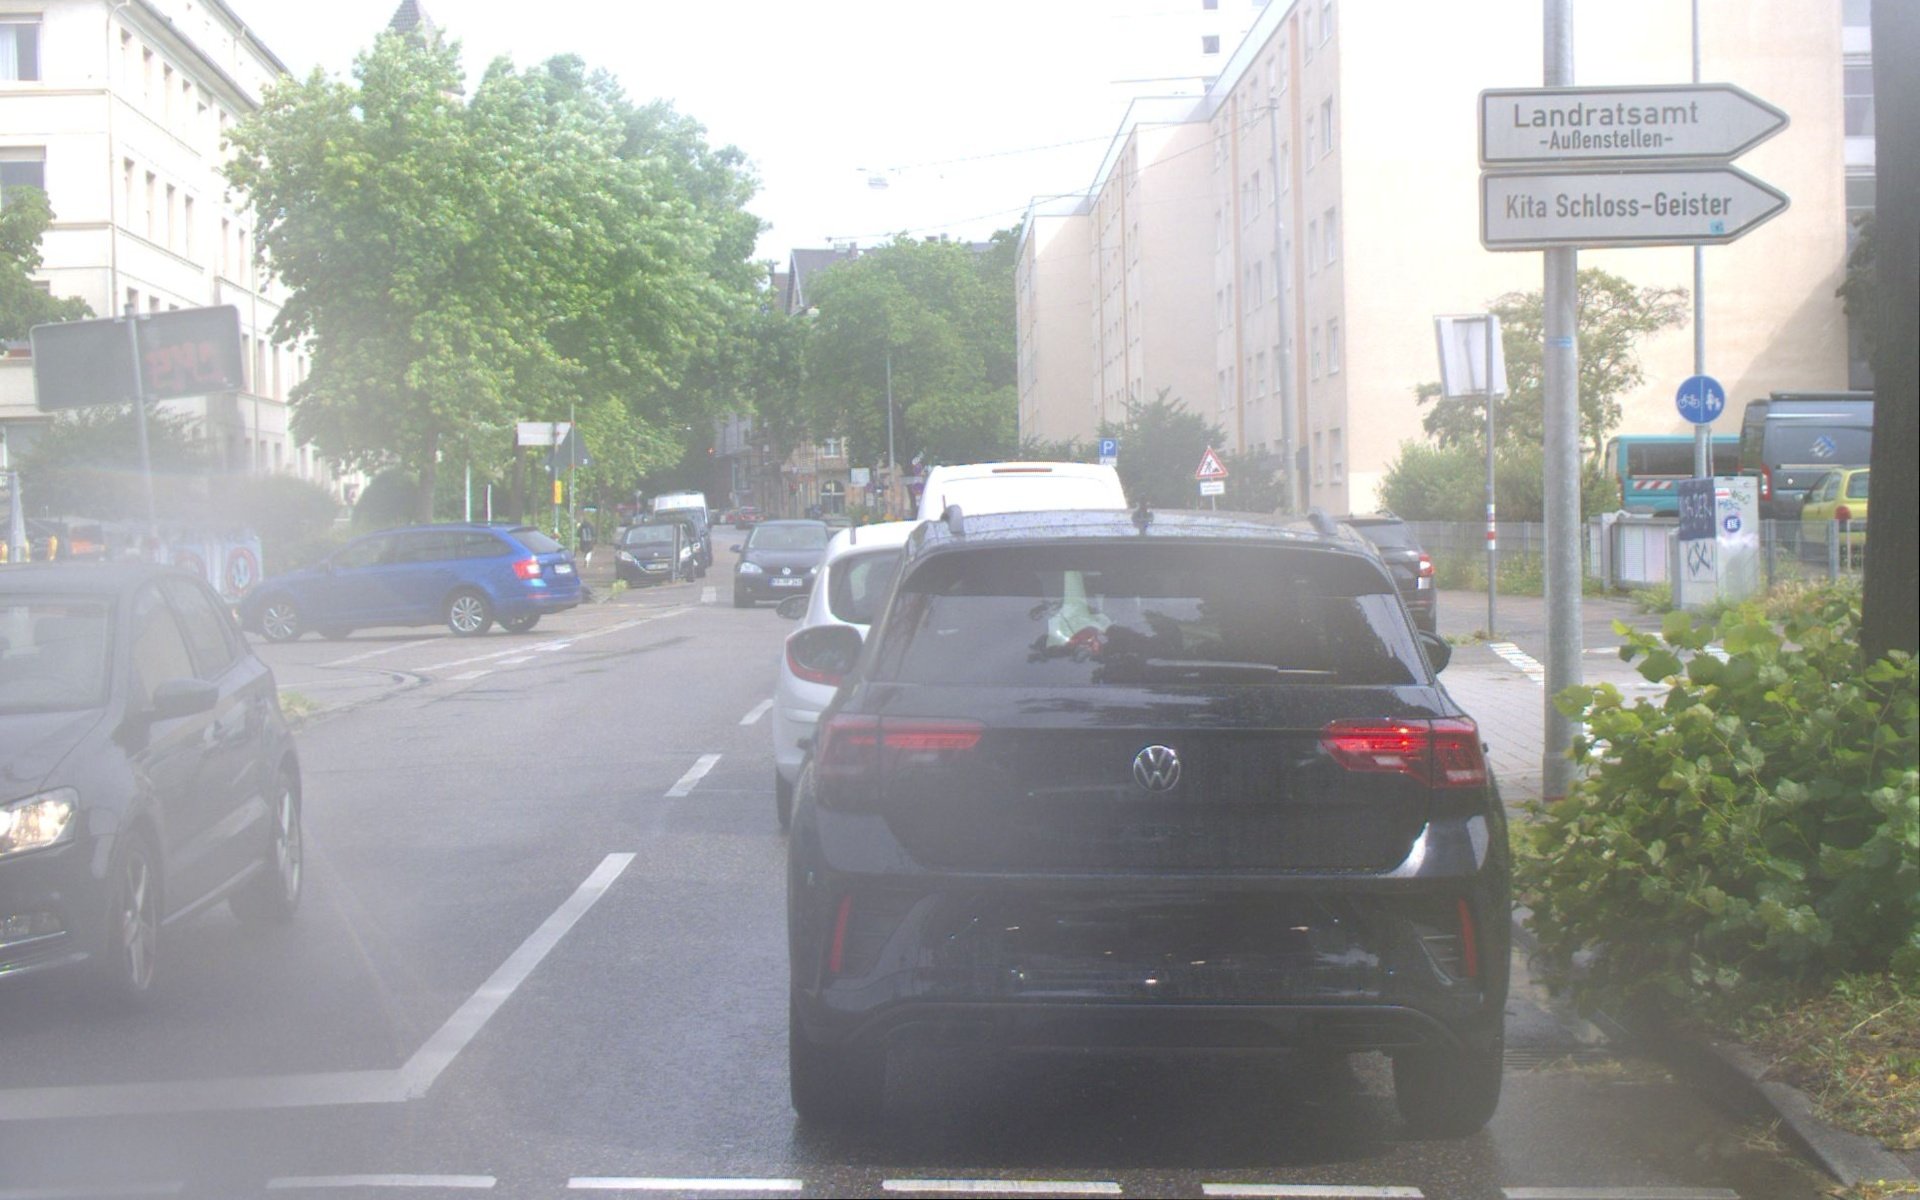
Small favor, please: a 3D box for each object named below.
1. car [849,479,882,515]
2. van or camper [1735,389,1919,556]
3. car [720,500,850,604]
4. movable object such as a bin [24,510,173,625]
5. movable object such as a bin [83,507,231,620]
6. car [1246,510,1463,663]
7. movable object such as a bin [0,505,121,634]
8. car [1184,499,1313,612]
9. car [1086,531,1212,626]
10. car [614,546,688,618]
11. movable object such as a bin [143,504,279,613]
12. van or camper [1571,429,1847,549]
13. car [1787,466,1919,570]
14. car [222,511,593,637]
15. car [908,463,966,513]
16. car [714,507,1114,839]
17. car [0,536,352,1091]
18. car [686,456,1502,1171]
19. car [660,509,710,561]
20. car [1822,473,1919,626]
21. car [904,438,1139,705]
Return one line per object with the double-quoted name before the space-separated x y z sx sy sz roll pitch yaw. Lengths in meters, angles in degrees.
"car" -4.998 -5.451 181.571 1.665 1.831 4.001 -2 2 -2
"van or camper" 15.028 -2.016 54.461 4.998 2.545 2.175 -1 1 1
"car" -2.885 -0.829 57.410 1.841 1.602 4.000 -3 1 1
"movable object such as a bin" -13.047 -0.499 52.110 1.539 1.650 1.526 -1 2 19
"movable object such as a bin" -12.518 -0.575 53.670 1.539 1.668 1.664 -1 2 19
"car" 4.438 -0.201 39.270 1.774 1.534 4.379 -4 2 -2
"movable object such as a bin" -13.394 -0.453 50.571 1.539 1.818 1.262 -1 2 19
"car" 4.224 -0.622 50.769 1.757 1.522 3.999 2 0 3
"car" 3.385 -0.370 62.274 1.748 1.503 4.112 -1 -2 -4
"car" -7.105 -0.432 79.218 1.585 1.500 4.065 -2 2 -5
"movable object such as a bin" -12.018 -0.671 55.184 1.539 1.656 1.457 -1 2 19
"van or camper" 14.073 -2.099 64.801 4.760 2.124 2.321 -1 2 4
"car" 13.428 -1.225 50.881 1.610 1.444 3.417 -2 2 2
"car" -7.218 -0.359 45.066 4.435 1.579 1.821 0 2 13
"car" -0.773 -3.868 118.706 1.841 1.602 3.675 -3 1 1
"car" -0.220 0.309 17.747 1.813 1.498 4.000 1 1 0
"car" -3.396 0.573 11.766 1.813 1.535 3.982 0 2 2
"car" 0.296 0.467 9.999 1.873 1.640 4.062 1 1 0
"car" -9.234 -2.196 115.356 1.585 1.633 3.921 -2 2 -5
"car" 11.794 -0.662 41.505 1.804 1.744 4.238 -2 2 2
"car" 0.543 -0.252 29.330 1.836 2.095 4.000 1 1 2
